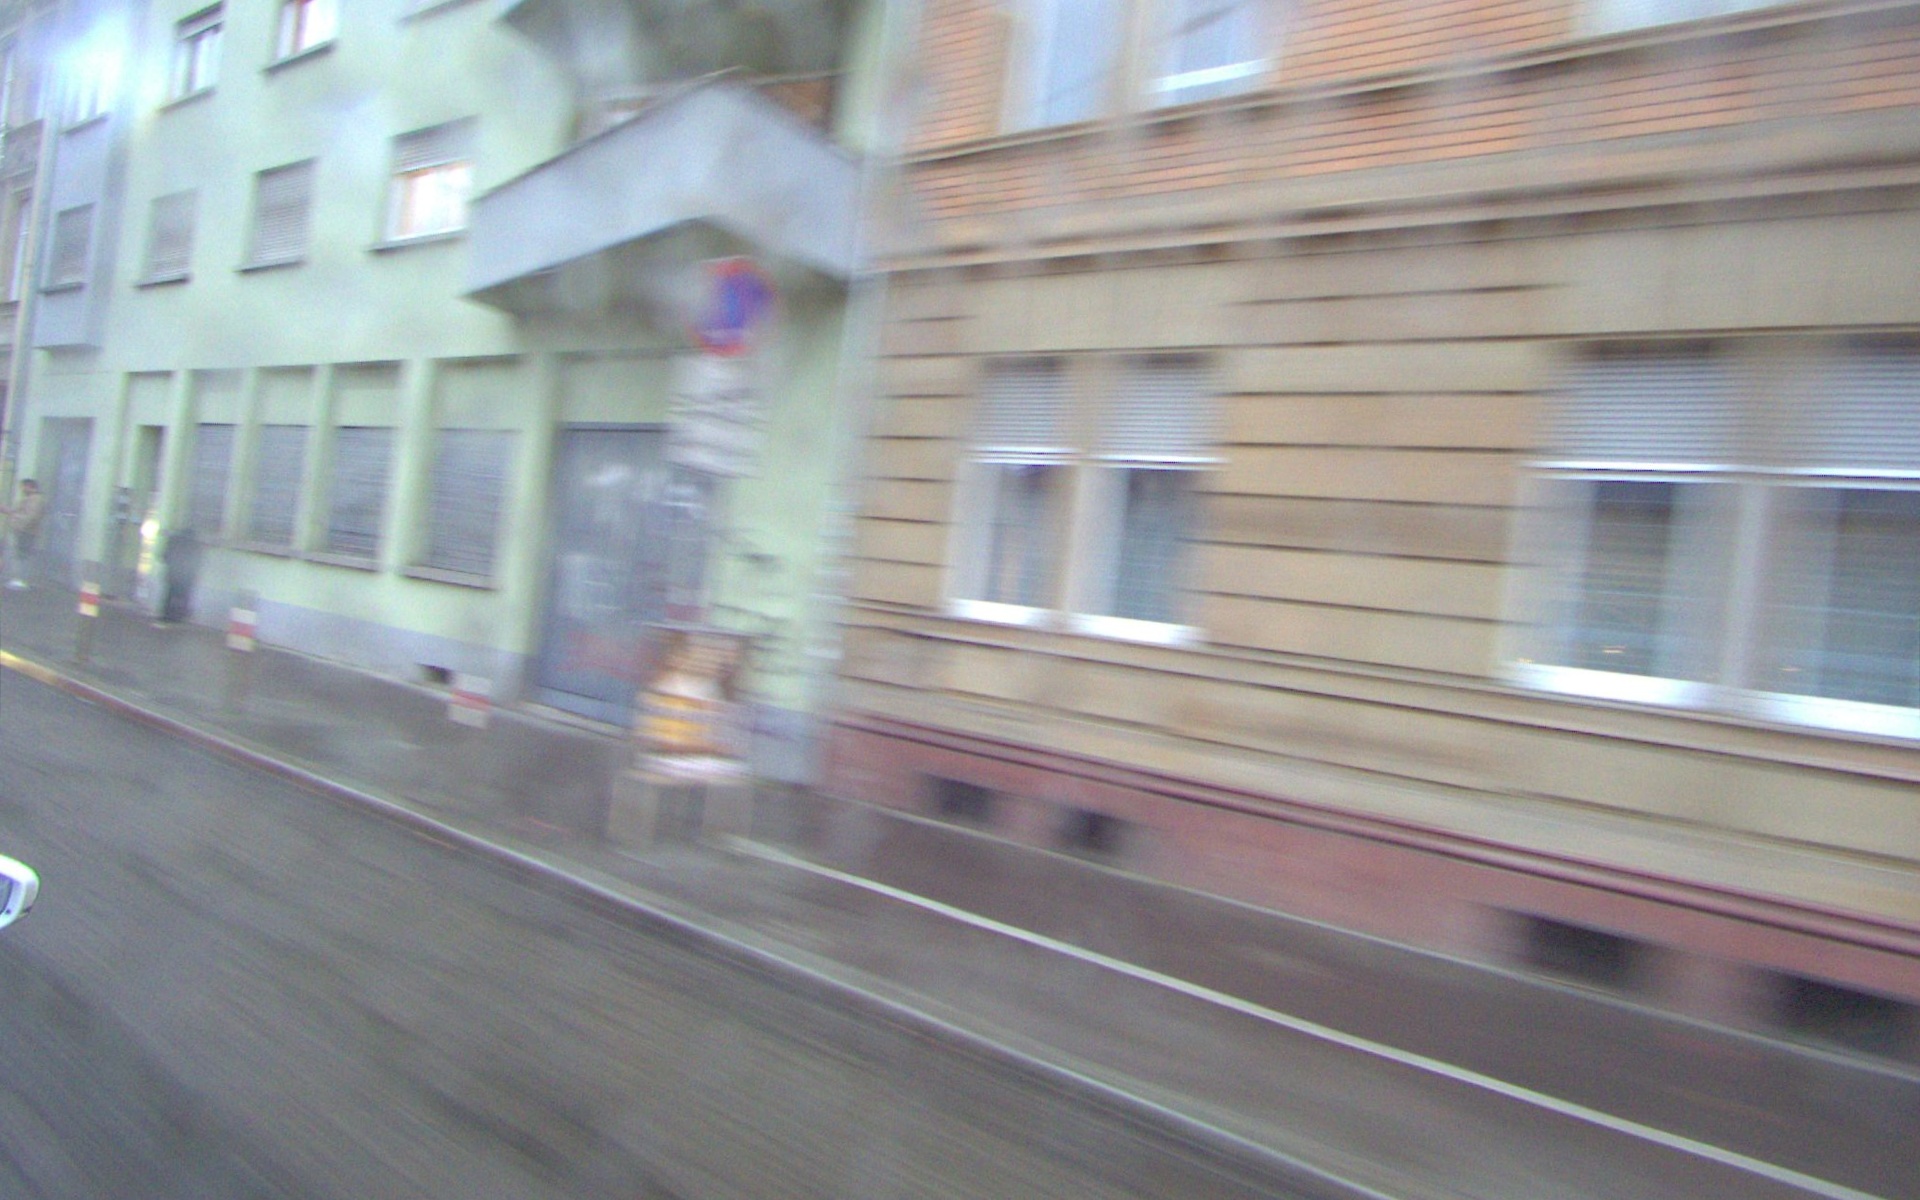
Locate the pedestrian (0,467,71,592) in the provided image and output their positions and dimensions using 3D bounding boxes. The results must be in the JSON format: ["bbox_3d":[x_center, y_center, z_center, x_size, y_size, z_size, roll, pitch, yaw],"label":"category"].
[{"bbox_3d":[-14.760,-1.099,15.839,0.761,1.839,0.601,7,-1,4],"label":"pedestrian"}]

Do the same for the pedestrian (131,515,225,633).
[{"bbox_3d":[-10.082,-0.330,12.969,0.716,1.392,0.601,6,-1,32],"label":"pedestrian"}]
